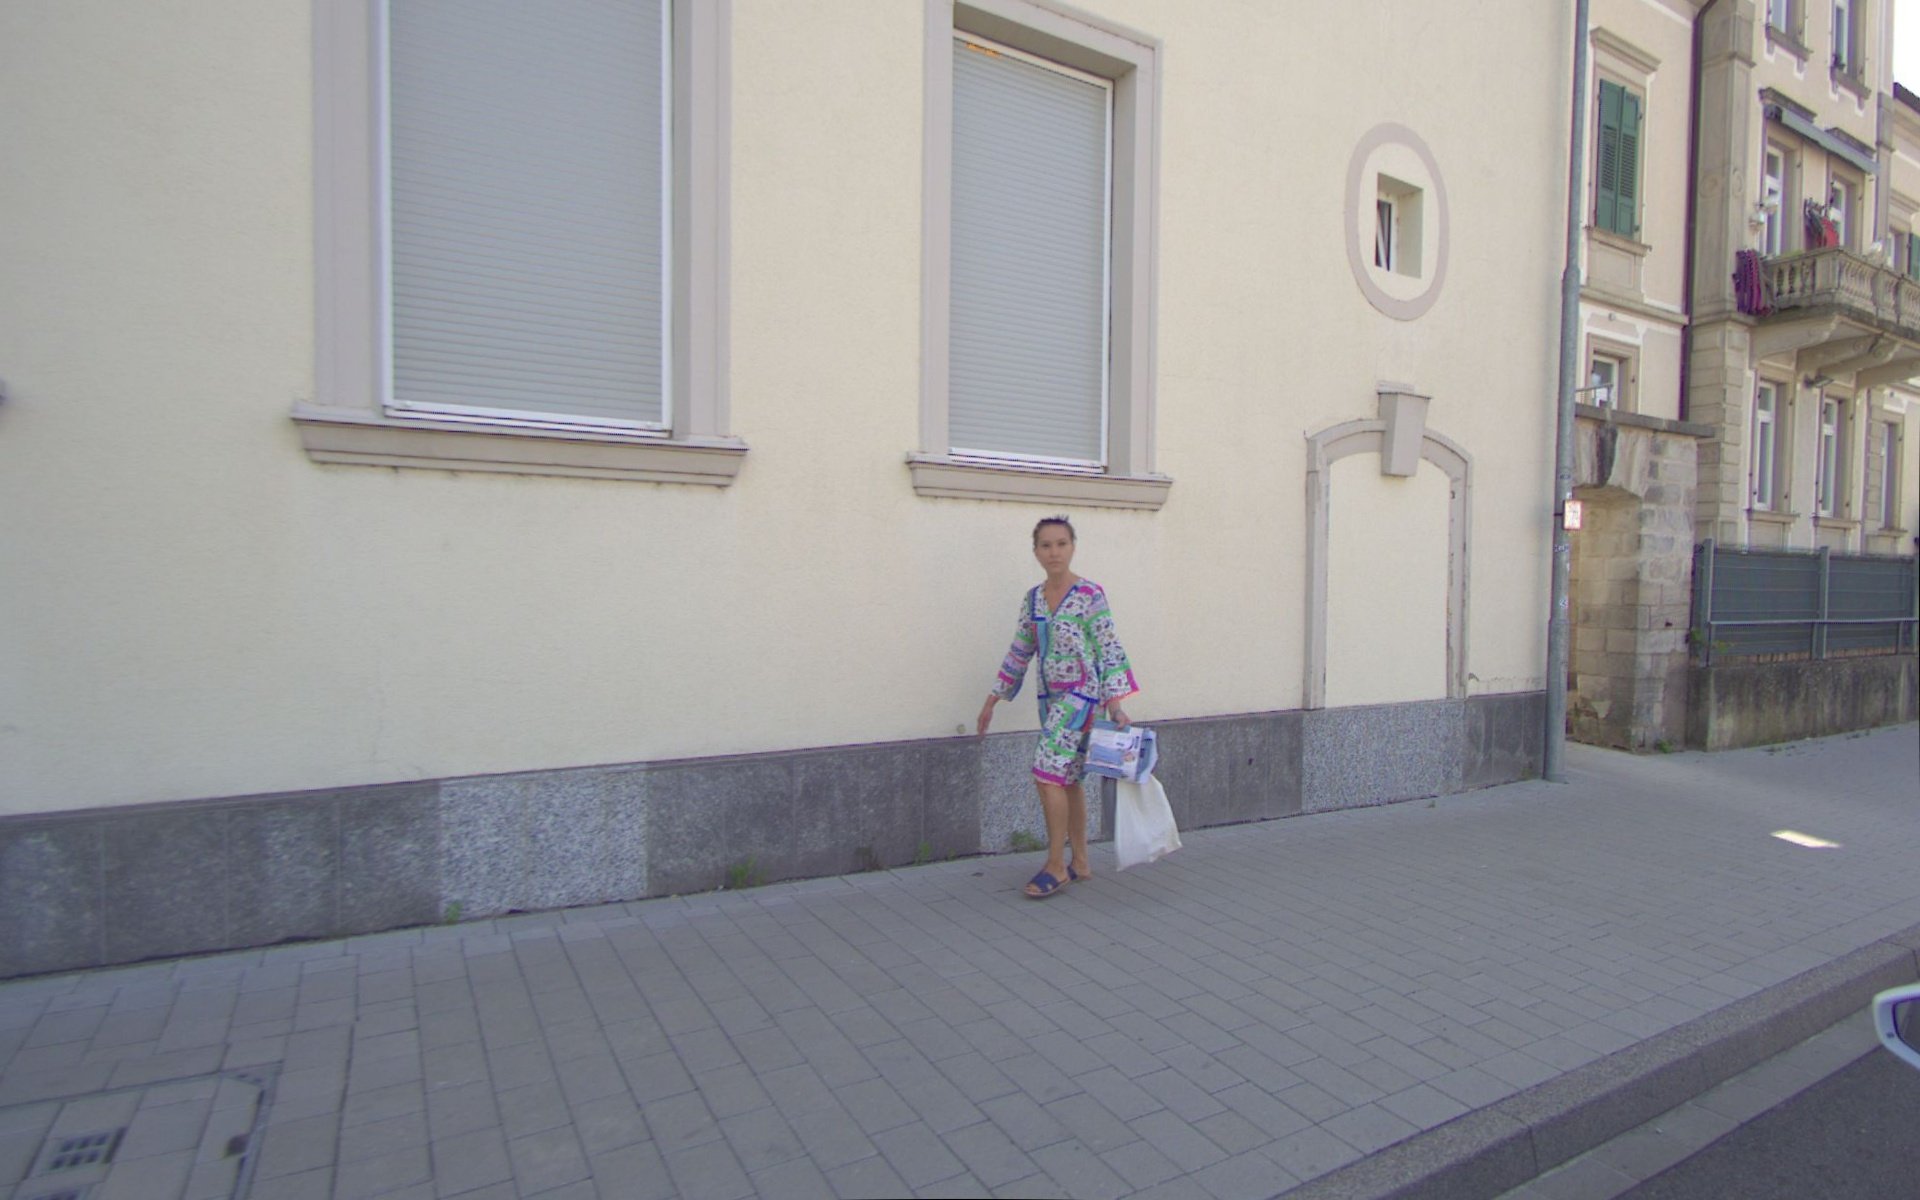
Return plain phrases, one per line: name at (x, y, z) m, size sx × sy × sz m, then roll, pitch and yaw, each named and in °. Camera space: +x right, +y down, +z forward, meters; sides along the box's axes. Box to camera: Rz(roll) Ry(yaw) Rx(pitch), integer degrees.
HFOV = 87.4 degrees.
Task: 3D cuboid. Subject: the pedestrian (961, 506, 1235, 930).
pedestrian at (0.586, 0.449, 4.505) m, size 0.749 × 1.653 × 0.953 m, roll 0°, pitch 2°, yaw -31°
